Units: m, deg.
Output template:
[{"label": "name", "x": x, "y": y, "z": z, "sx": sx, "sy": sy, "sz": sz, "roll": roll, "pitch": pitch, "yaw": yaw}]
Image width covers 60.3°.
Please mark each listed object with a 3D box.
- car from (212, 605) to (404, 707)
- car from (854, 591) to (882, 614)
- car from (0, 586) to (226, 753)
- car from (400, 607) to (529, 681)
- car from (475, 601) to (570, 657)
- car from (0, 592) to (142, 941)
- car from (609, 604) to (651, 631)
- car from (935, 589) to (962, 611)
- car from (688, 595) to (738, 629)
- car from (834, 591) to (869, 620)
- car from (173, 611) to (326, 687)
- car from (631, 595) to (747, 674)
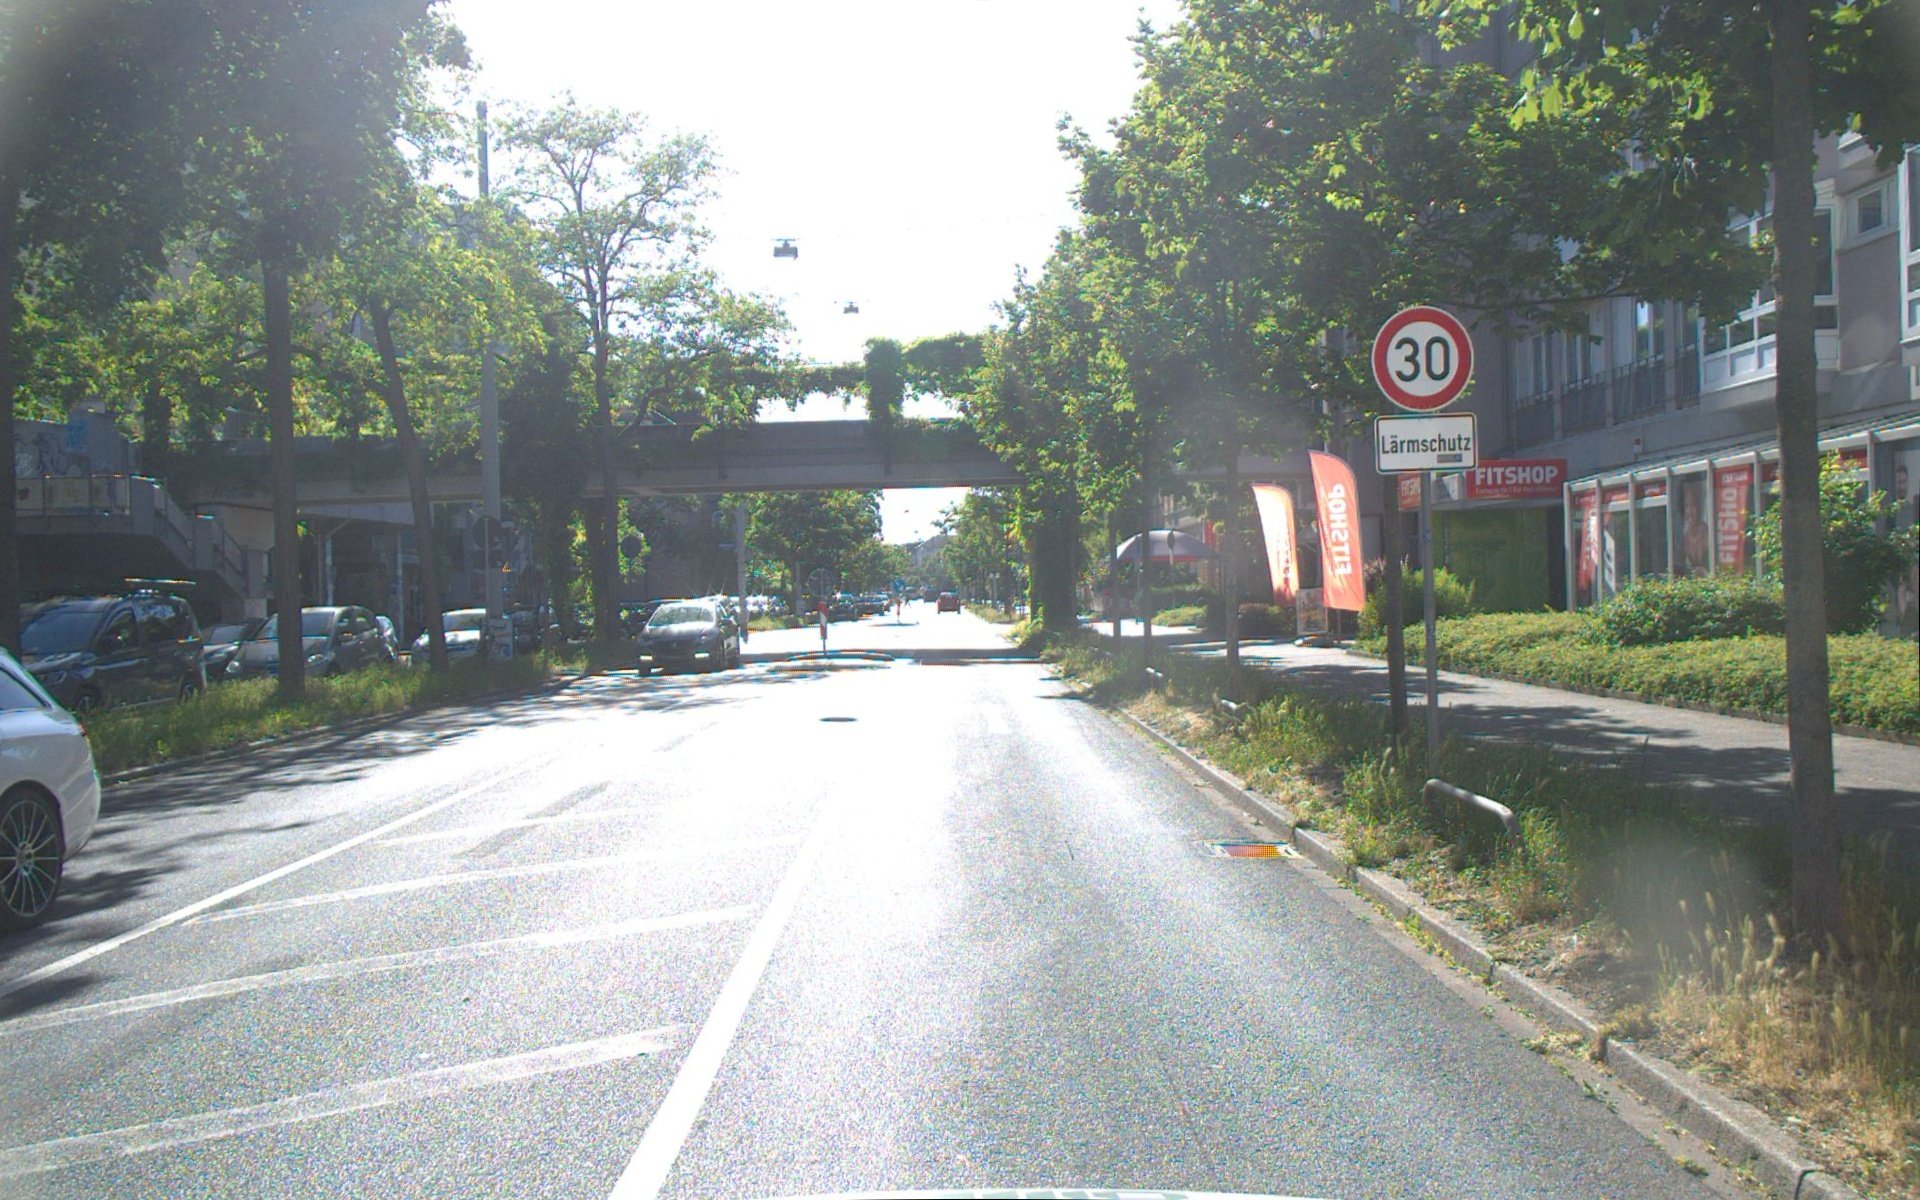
[{"label": "car", "x": -11.312, "y": 0.923, "z": 28.990, "sx": 1.818, "sy": 1.595, "sz": 3.871, "roll": -1, "pitch": 0, "yaw": 0}, {"label": "car", "x": -6.552, "y": 0.167, "z": 118.260, "sx": 1.818, "sy": 1.549, "sz": 4.317, "roll": -1, "pitch": 0, "yaw": -2}, {"label": "car", "x": -11.225, "y": 0.779, "z": 21.061, "sx": 1.818, "sy": 1.882, "sz": 4.560, "roll": -1, "pitch": 0, "yaw": -2}, {"label": "car", "x": -11.497, "y": 0.974, "z": 38.681, "sx": 1.818, "sy": 1.549, "sz": 4.317, "roll": -1, "pitch": 0, "yaw": -2}, {"label": "car", "x": -11.289, "y": 0.718, "z": 42.896, "sx": 1.600, "sy": 1.330, "sz": 3.581, "roll": -1, "pitch": 0, "yaw": -2}, {"label": "car", "x": -5.323, "y": 0.836, "z": 6.540, "sx": 1.818, "sy": 1.595, "sz": 4.714, "roll": -4, "pitch": 0, "yaw": -1}, {"label": "car", "x": -20.144, "y": 1.054, "z": 101.144, "sx": 1.818, "sy": 1.549, "sz": 4.317, "roll": -1, "pitch": 0, "yaw": -2}, {"label": "car", "x": -0.795, "y": -0.034, "z": 118.737, "sx": 1.817, "sy": 1.549, "sz": 4.319, "roll": -1, "pitch": 0, "yaw": 1}, {"label": "car", "x": -11.752, "y": 0.545, "z": 78.864, "sx": 1.818, "sy": 1.549, "sz": 4.317, "roll": -1, "pitch": 0, "yaw": -2}, {"label": "car", "x": -6.063, "y": 0.289, "z": 92.733, "sx": 1.818, "sy": 1.549, "sz": 4.317, "roll": -1, "pitch": 0, "yaw": -2}, {"label": "car", "x": -16.721, "y": 1.118, "z": 39.163, "sx": 1.818, "sy": 1.549, "sz": 4.317, "roll": -2, "pitch": 1, "yaw": -2}, {"label": "car", "x": -5.751, "y": 0.696, "z": 35.542, "sx": 1.818, "sy": 1.465, "sz": 4.317, "roll": -3, "pitch": 1, "yaw": -2}]
